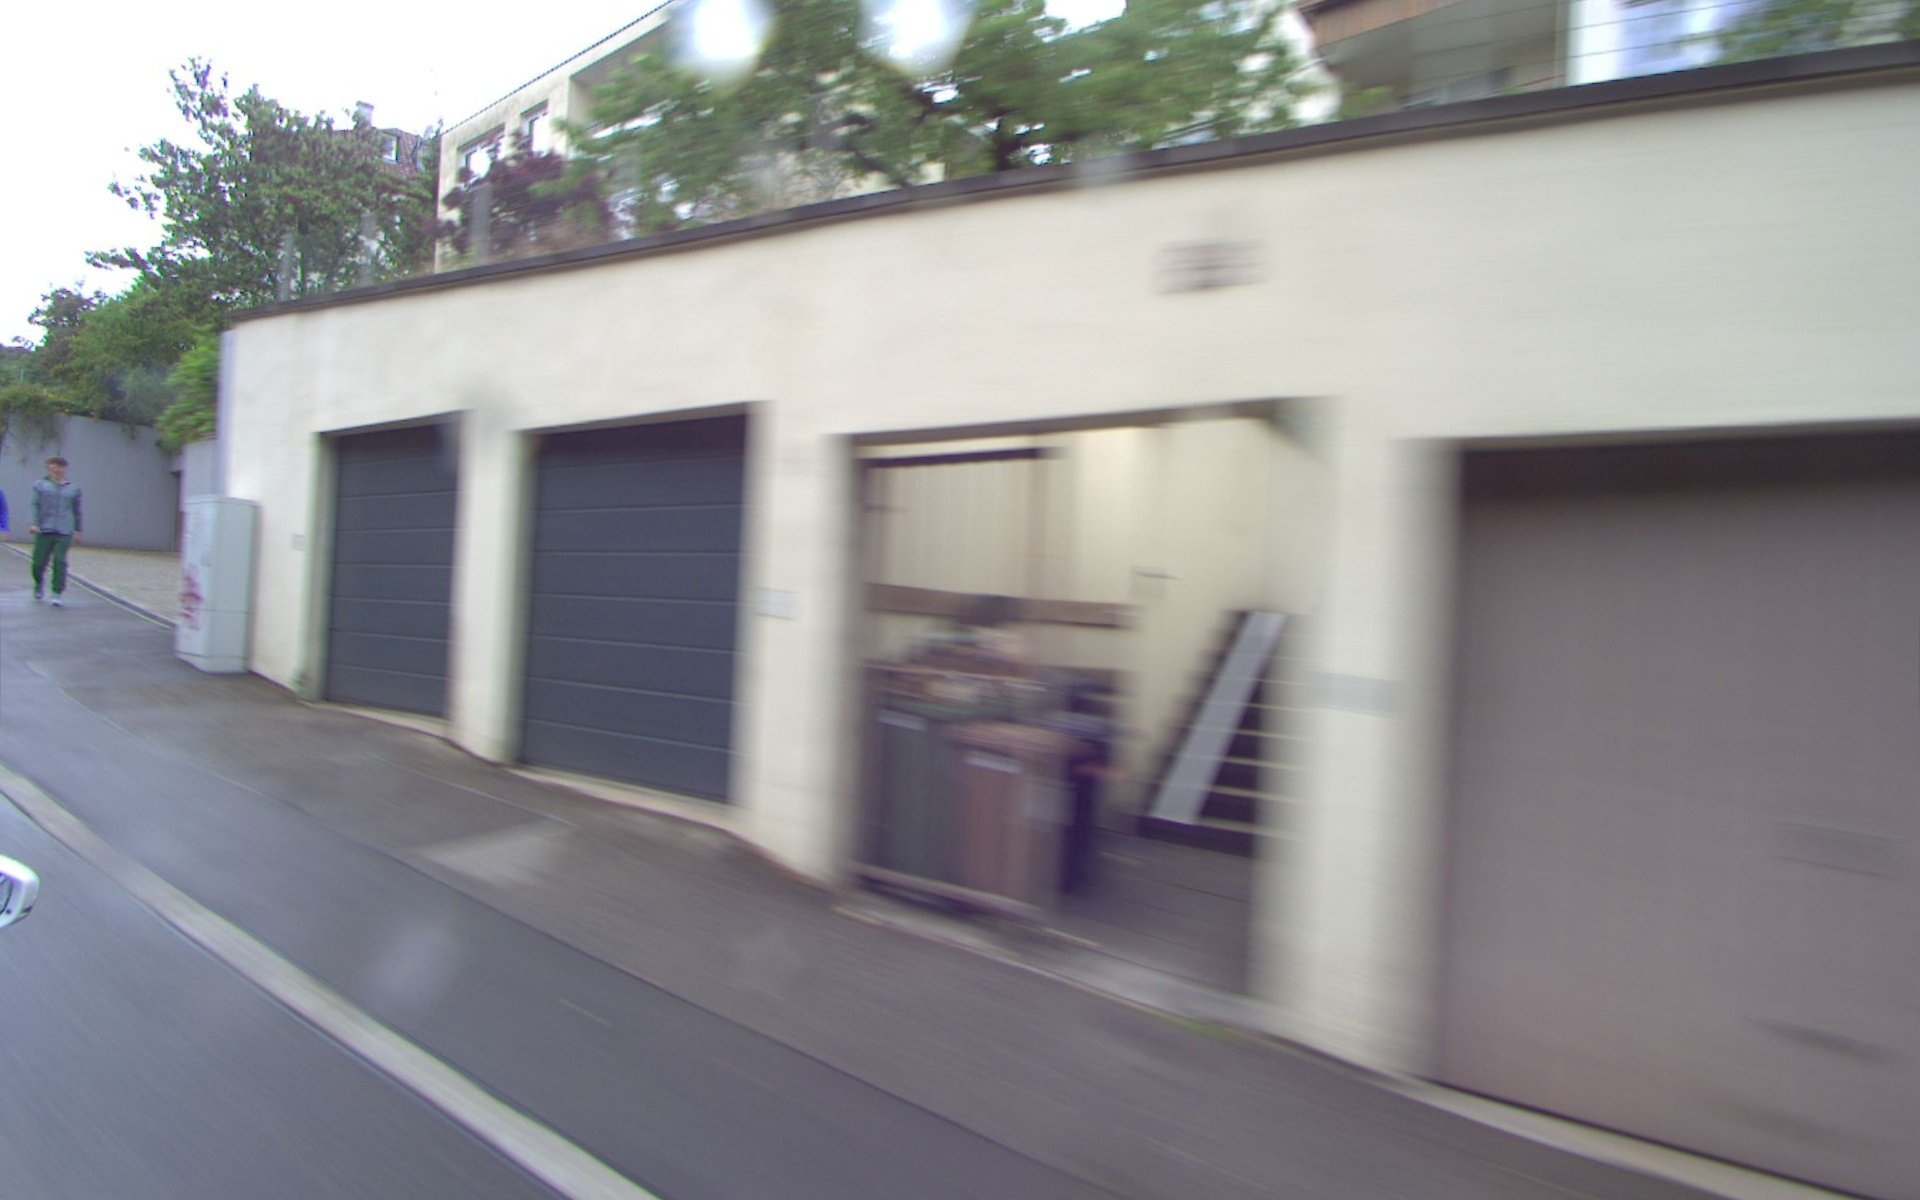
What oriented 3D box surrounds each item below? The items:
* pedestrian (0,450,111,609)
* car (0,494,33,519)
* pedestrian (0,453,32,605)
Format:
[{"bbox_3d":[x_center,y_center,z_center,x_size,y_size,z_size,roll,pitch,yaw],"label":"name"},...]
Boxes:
[{"bbox_3d":[-11.336,-0.876,12.590,1.232,1.856,0.775,6,2,38],"label":"pedestrian"},{"bbox_3d":[-64.945,-6.401,68.510,1.698,1.481,3.851,6,1,-29],"label":"car"},{"bbox_3d":[-11.783,-0.882,12.043,0.996,1.781,0.774,6,2,38],"label":"pedestrian"}]
